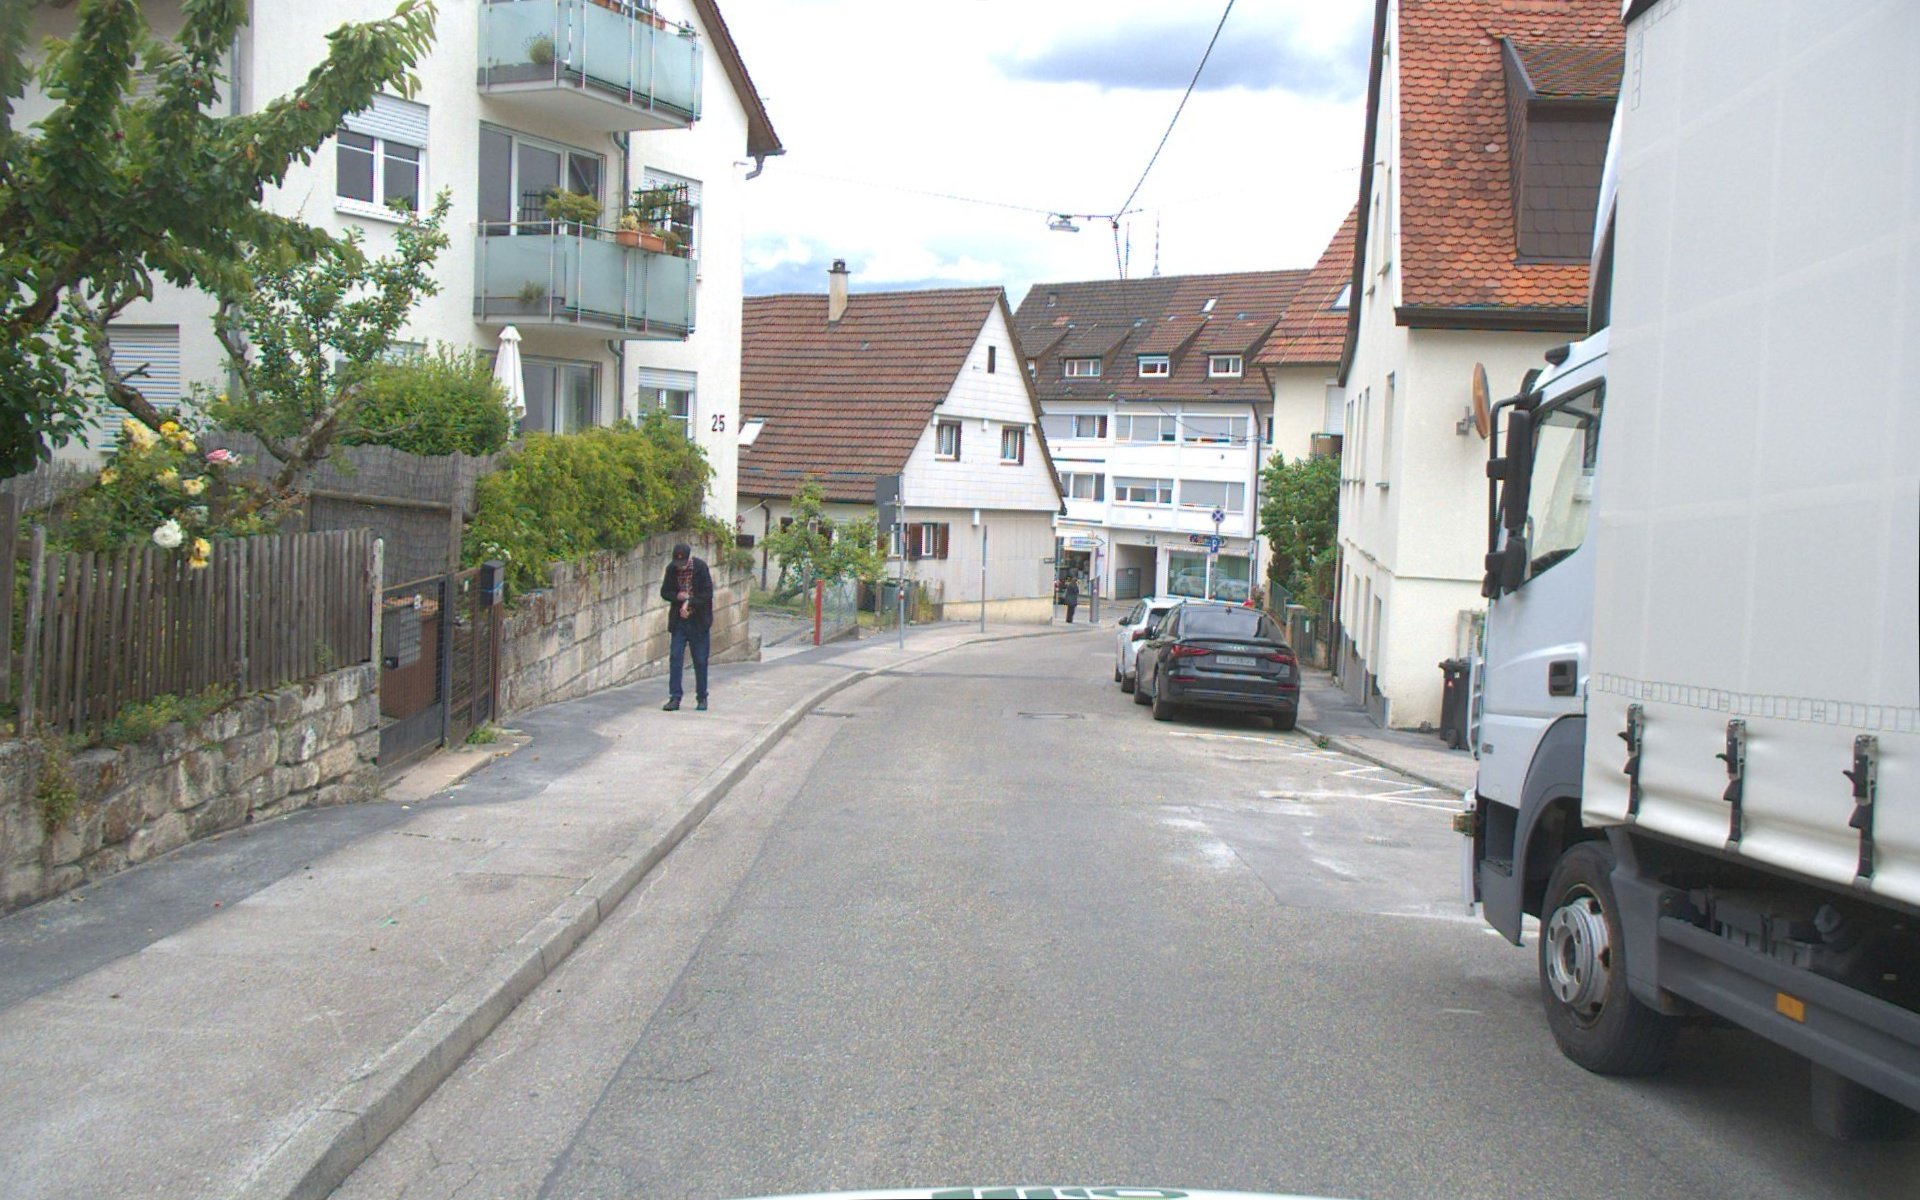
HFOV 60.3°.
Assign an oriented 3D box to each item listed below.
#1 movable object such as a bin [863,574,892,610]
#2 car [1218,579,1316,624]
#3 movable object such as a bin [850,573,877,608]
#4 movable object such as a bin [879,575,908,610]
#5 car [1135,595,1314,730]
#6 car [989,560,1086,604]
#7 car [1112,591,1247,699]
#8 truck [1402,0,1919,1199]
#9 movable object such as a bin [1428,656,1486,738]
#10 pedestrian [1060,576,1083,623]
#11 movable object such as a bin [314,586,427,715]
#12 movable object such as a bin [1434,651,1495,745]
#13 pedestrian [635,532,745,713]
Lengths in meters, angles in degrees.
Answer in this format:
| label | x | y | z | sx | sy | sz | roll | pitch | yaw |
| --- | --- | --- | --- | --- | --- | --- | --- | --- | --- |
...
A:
| label | x | y | z | sx | sy | sz | roll | pitch | yaw |
| --- | --- | --- | --- | --- | --- | --- | --- | --- | --- |
| movable object such as a bin | -2.288 | -0.227 | 46.002 | 0.518 | 0.932 | 0.488 | 7 | 1 | 35 |
| car | 12.586 | 0.041 | 67.899 | 1.684 | 1.583 | 3.638 | 1 | 3 | -43 |
| movable object such as a bin | -2.698 | -0.262 | 46.357 | 0.486 | 0.892 | 0.451 | 7 | 1 | 35 |
| movable object such as a bin | -1.848 | -0.206 | 45.744 | 0.518 | 0.899 | 0.488 | 7 | 1 | 35 |
| car | 3.287 | 0.722 | 21.240 | 1.639 | 1.433 | 4.052 | 4 | 0 | 1 |
| car | 3.577 | -0.854 | 76.870 | 1.933 | 1.810 | 4.298 | 0 | 3 | -45 |
| car | 3.454 | 0.662 | 26.670 | 1.757 | 1.470 | 4.299 | 4 | 0 | 3 |
| truck | 3.368 | -0.259 | 2.975 | 2.622 | 3.659 | 8.104 | 3 | 1 | -1 |
| movable object such as a bin | 5.683 | 1.103 | 18.897 | 0.430 | 0.881 | 0.445 | 1 | 2 | -41 |
| pedestrian | 4.137 | -0.022 | 61.364 | 0.634 | 1.713 | 0.603 | 3 | 2 | -10 |
| movable object such as a bin | -4.814 | 0.397 | 13.516 | 0.579 | 0.947 | 0.602 | 7 | 5 | 29 |
| movable object such as a bin | 5.227 | 1.004 | 17.159 | 0.454 | 0.933 | 0.542 | -1 | 0 | 1 |
| pedestrian | -2.701 | 0.216 | 16.626 | 0.823 | 1.706 | 0.976 | 4 | 0 | -1 |
